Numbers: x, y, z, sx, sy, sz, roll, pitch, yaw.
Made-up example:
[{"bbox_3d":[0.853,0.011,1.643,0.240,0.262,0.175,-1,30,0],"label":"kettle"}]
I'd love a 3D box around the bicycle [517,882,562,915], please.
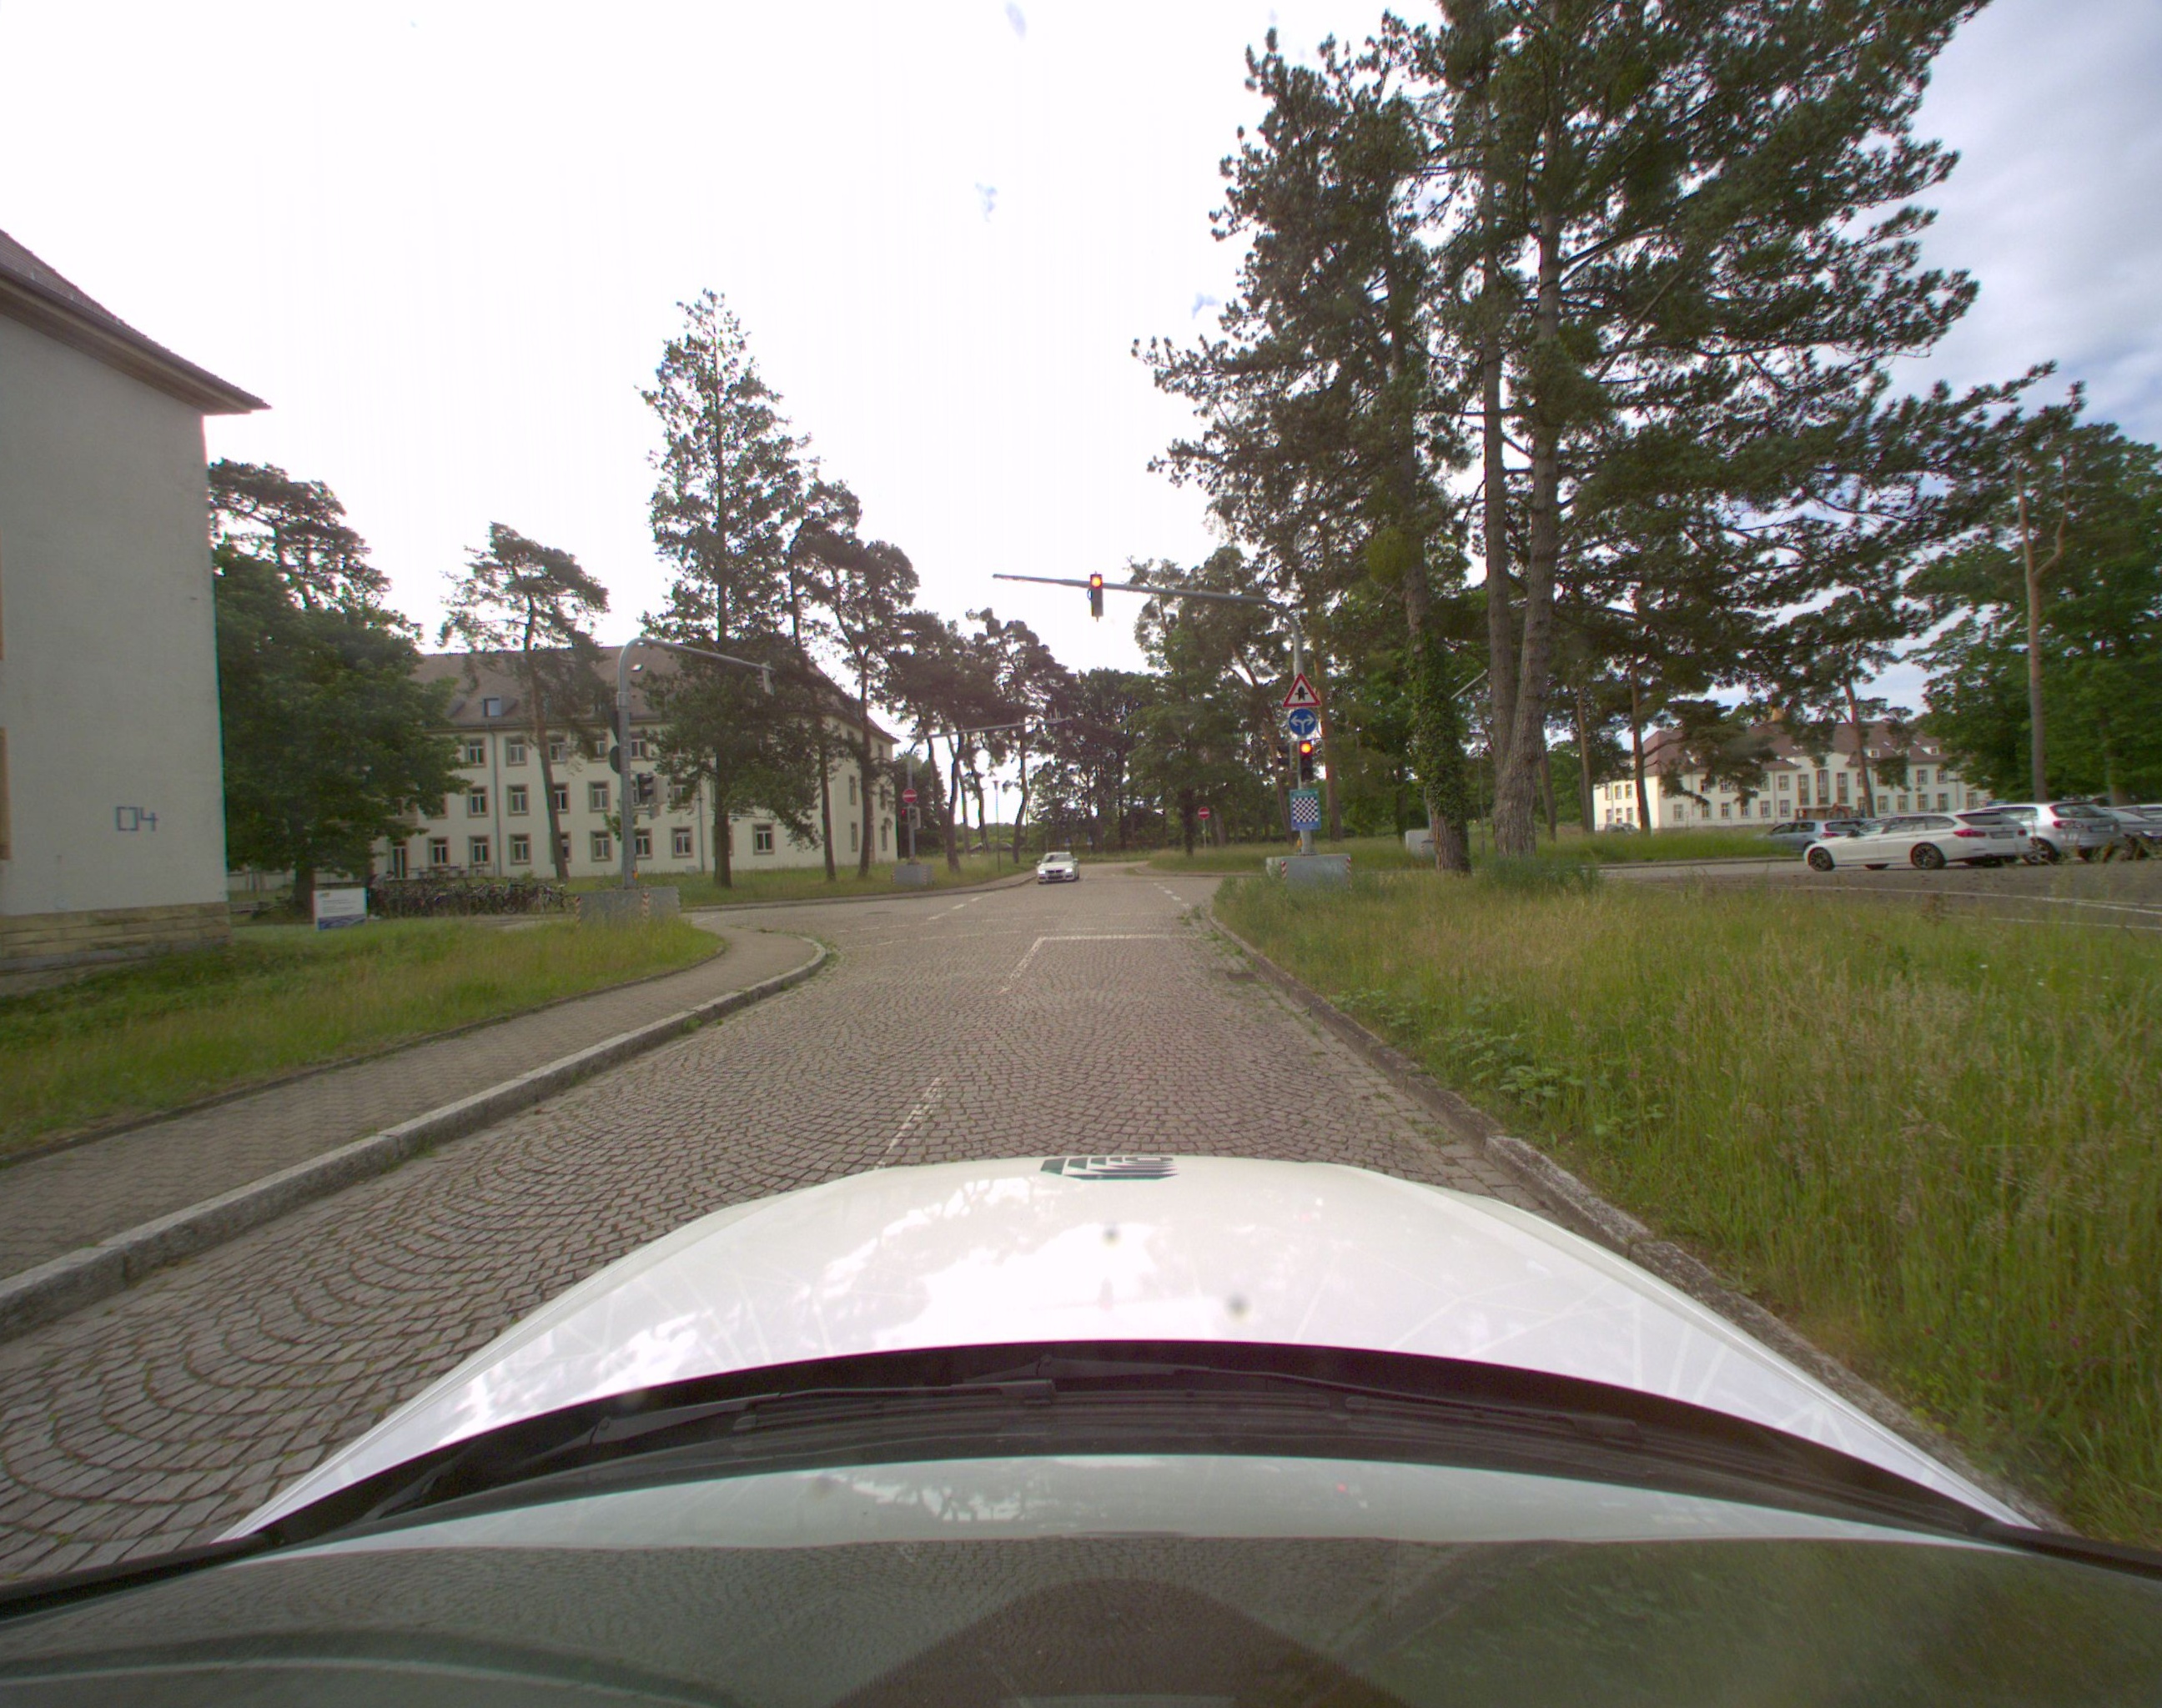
[{"bbox_3d":[-19.489,1.582,29.353,0.513,1.079,1.585,-3,0,-1],"label":"bicycle"}]

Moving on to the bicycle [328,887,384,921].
[{"bbox_3d":[-26.142,1.779,29.379,0.512,1.079,1.586,-3,0,2],"label":"bicycle"}]

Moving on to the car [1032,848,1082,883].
[{"bbox_3d":[-1.102,0.520,39.647,1.764,1.438,4.225,-5,1,6],"label":"car"}]

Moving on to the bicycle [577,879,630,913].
[{"bbox_3d":[-16.472,1.432,28.100,1.460,1.065,0.516,-3,0,-1],"label":"bicycle"}]

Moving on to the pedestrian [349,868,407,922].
[{"bbox_3d":[-24.743,1.418,28.684,1.050,1.788,1.165,-2,2,30],"label":"pedestrian"}]

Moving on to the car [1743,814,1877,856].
[{"bbox_3d":[29.041,-0.745,32.644,1.727,1.509,4.247,-2,1,3],"label":"car"}]

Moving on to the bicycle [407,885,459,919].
[{"bbox_3d":[-23.319,1.710,29.323,0.512,1.079,1.586,-3,0,2],"label":"bicycle"}]

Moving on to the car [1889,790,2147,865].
[{"bbox_3d":[24.243,-0.601,21.364,1.777,1.605,4.240,-3,-2,-1],"label":"car"}]

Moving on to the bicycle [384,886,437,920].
[{"bbox_3d":[-24.114,1.740,29.332,0.512,1.079,1.586,-3,0,2],"label":"bicycle"}]

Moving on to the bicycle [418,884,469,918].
[{"bbox_3d":[-22.935,1.674,29.326,0.512,1.079,1.586,-3,0,2],"label":"bicycle"}]

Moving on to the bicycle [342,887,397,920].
[{"bbox_3d":[-25.641,1.771,29.384,0.512,1.079,1.586,-3,0,2],"label":"bicycle"}]

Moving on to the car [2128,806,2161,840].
[{"bbox_3d":[44.485,-1.269,31.937,1.724,1.390,4.252,-2,1,7],"label":"car"}]

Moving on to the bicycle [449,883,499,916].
[{"bbox_3d":[-21.861,1.631,29.342,0.512,1.079,1.586,-3,0,2],"label":"bicycle"}]

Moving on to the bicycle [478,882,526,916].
[{"bbox_3d":[-20.870,1.604,29.373,0.512,1.079,1.586,-3,0,2],"label":"bicycle"}]

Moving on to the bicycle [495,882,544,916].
[{"bbox_3d":[-20.168,1.593,29.272,0.512,1.079,1.587,-3,0,5],"label":"bicycle"}]

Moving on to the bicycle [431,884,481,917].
[{"bbox_3d":[-22.483,1.664,29.328,0.512,1.079,1.586,-3,0,2],"label":"bicycle"}]

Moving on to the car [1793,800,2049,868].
[{"bbox_3d":[21.608,-0.429,21.288,1.843,1.486,4.606,-1,-2,-1],"label":"car"}]

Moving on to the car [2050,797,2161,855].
[{"bbox_3d":[29.618,-0.808,22.076,1.694,1.485,4.246,-3,-2,3],"label":"car"}]

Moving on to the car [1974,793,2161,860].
[{"bbox_3d":[26.873,-0.687,21.628,1.694,1.485,4.246,-3,-2,3],"label":"car"}]

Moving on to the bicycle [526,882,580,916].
[{"bbox_3d":[-18.109,1.534,27.953,1.460,1.079,0.516,-3,0,-1],"label":"bicycle"}]

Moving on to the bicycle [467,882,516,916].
[{"bbox_3d":[-21.230,1.610,29.382,0.512,1.079,1.586,-3,0,2],"label":"bicycle"}]
